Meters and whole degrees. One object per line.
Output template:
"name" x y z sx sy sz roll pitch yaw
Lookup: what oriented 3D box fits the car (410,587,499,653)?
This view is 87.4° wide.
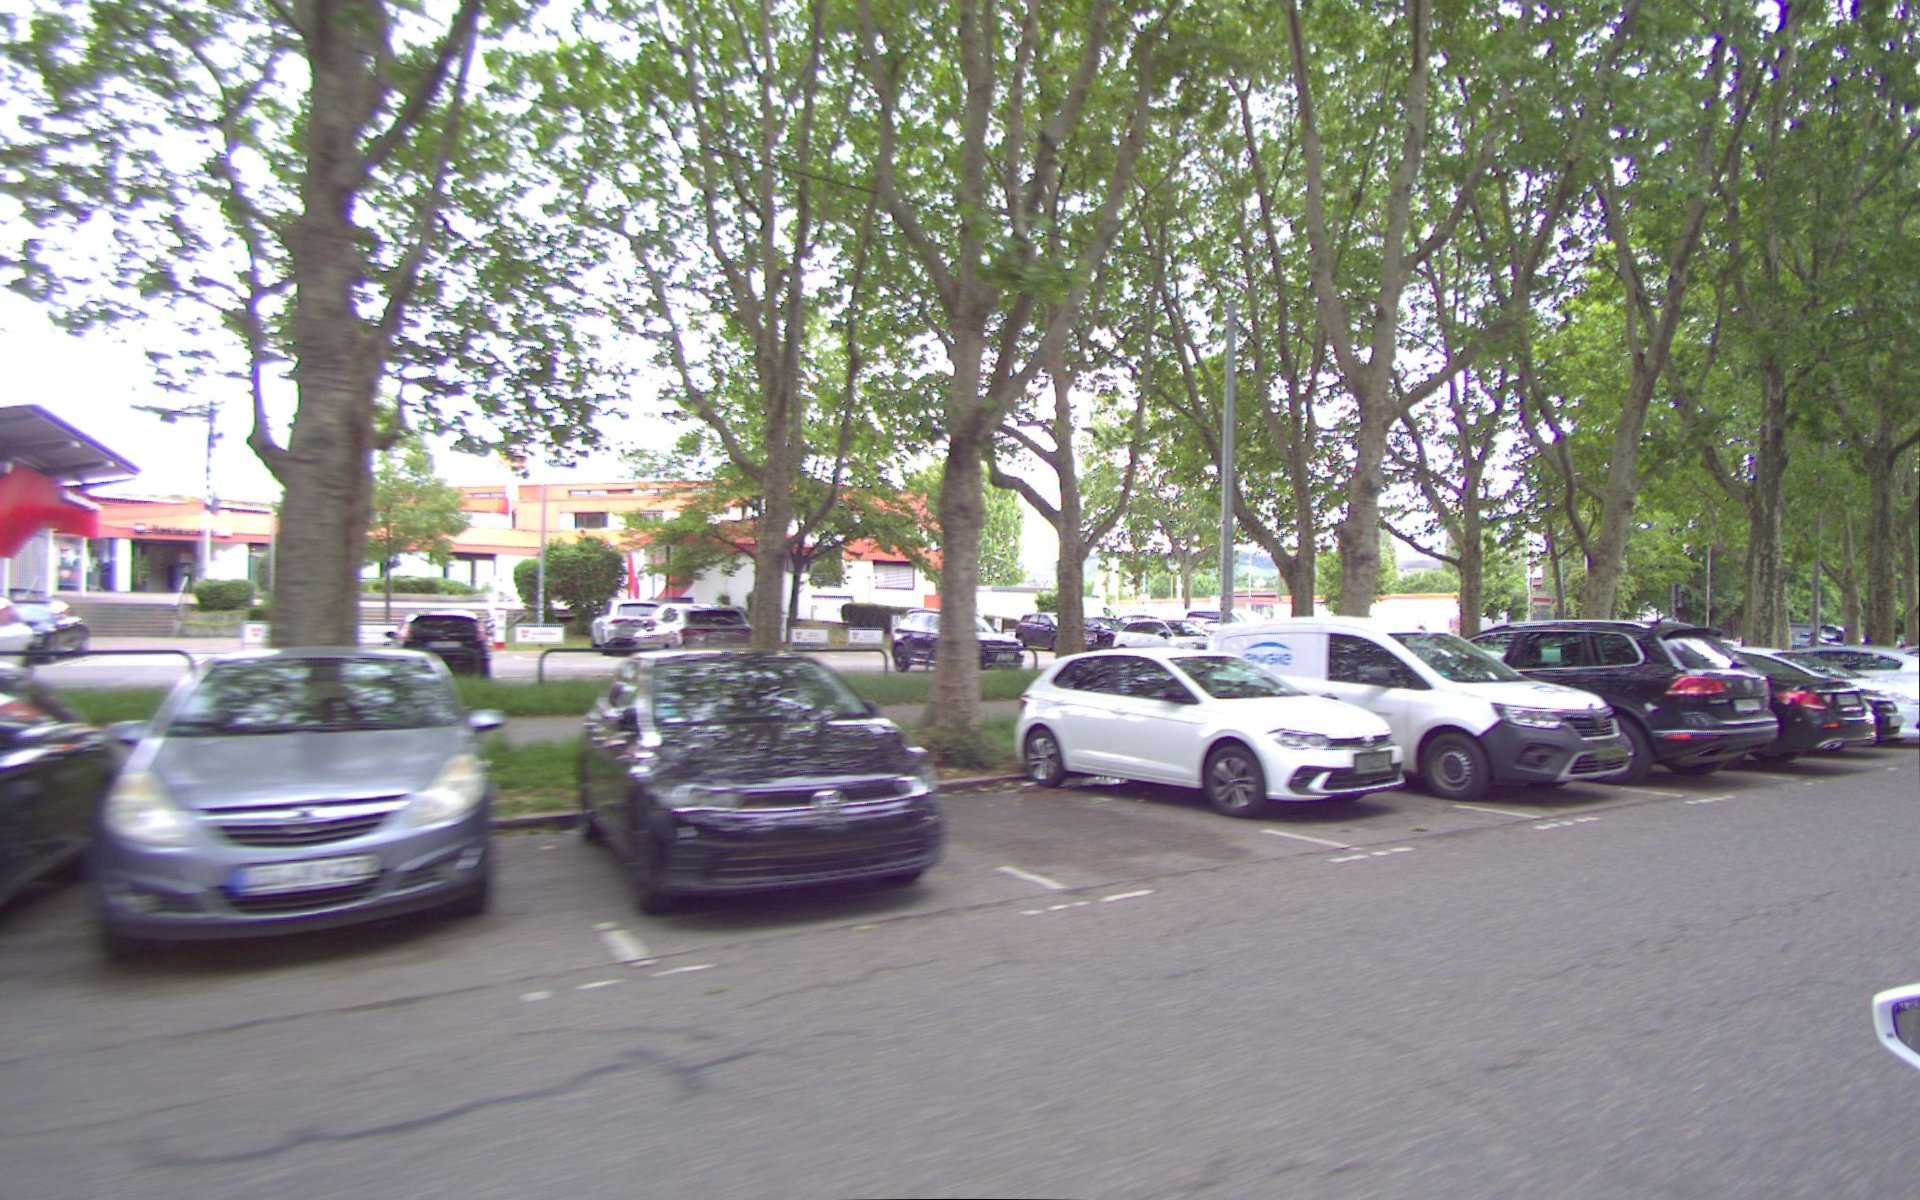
"car" -15.664 0.603 31.359 2.265 1.880 4.565 2 -1 -25

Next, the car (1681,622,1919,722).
"car" 15.367 1.233 17.415 1.887 1.568 4.242 2 -4 -32

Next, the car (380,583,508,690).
"car" -10.453 0.668 20.174 2.005 1.885 4.299 2 -1 -31

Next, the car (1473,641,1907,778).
"car" 9.244 1.318 13.129 1.988 1.471 4.114 1 -4 -28

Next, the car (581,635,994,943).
"car" -1.468 1.004 6.912 1.733 1.439 3.965 1 -3 -27

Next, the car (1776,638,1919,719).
"car" 19.449 1.605 20.499 1.811 1.513 3.975 2 -1 -30

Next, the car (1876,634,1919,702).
"car" 23.749 1.629 22.822 1.783 1.561 3.977 2 -1 -28

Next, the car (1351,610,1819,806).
"car" 7.132 1.081 11.970 2.012 1.819 4.297 2 -1 -30

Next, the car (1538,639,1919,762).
"car" 11.104 1.335 14.707 1.946 1.372 4.166 2 -1 -32

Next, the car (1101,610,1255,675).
"car" 6.408 1.216 29.939 2.107 1.732 4.299 2 -1 -31

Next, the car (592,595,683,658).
"car" -10.571 0.826 32.715 2.265 1.880 4.565 2 -1 -25

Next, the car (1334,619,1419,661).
"car" 17.332 1.639 41.654 2.066 1.572 4.960 1 -1 37

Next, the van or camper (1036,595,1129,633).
"van or camper" 7.168 0.841 58.451 5.243 2.040 1.983 2 -1 -32

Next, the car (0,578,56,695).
"car" -16.402 0.556 15.972 2.159 1.820 4.914 1 -1 -32

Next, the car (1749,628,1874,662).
"car" 44.924 2.359 53.120 2.082 1.588 4.608 3 -1 -27

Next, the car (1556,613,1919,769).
"car" 11.025 1.167 14.029 1.845 1.834 4.298 1 -3 -30

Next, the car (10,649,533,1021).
"car" -3.968 1.021 6.281 1.858 1.387 4.442 1 -3 -30

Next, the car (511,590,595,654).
"car" -13.222 0.686 32.465 2.265 1.880 4.565 2 -1 -25

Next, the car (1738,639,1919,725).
"car" 17.533 1.537 19.077 1.840 1.424 3.968 2 -1 -30

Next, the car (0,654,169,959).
"car" -5.718 0.986 5.106 1.878 1.365 4.446 1 -3 -28

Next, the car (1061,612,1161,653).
"car" 6.393 1.367 42.974 1.937 1.569 4.299 2 -1 -31

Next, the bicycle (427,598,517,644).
"bicycle" -17.202 0.757 35.428 2.769 1.560 1.044 2 -1 -31

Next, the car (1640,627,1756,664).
"car" 34.861 2.123 47.517 1.978 1.543 3.969 2 -1 -29

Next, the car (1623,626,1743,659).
"car" 32.801 1.906 45.684 1.979 1.341 3.967 2 -1 -30

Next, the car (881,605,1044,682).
"car" -0.044 1.071 26.279 2.270 1.785 4.495 2 -1 -31

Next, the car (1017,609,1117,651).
"car" 4.392 1.224 41.855 1.937 1.569 4.299 2 -1 -31

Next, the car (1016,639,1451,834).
"car" 2.464 1.146 9.754 1.751 1.491 3.751 2 -3 -40

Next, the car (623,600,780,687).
"car" -5.973 0.909 22.807 2.270 1.748 4.529 2 -1 -31

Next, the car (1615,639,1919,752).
"car" 13.123 1.417 16.110 1.864 1.423 3.966 2 -1 -31

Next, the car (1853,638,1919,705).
"car" 21.868 1.589 21.307 1.887 1.403 3.980 2 -1 -26

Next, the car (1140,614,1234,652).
"car" 10.285 1.497 45.807 1.770 1.569 4.195 2 -1 -31

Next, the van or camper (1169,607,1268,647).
"van or camper" 12.133 1.264 47.385 2.107 1.732 4.299 2 -1 -31

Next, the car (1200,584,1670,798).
"car" 4.866 0.886 10.932 1.848 1.834 4.292 1 -3 -33
